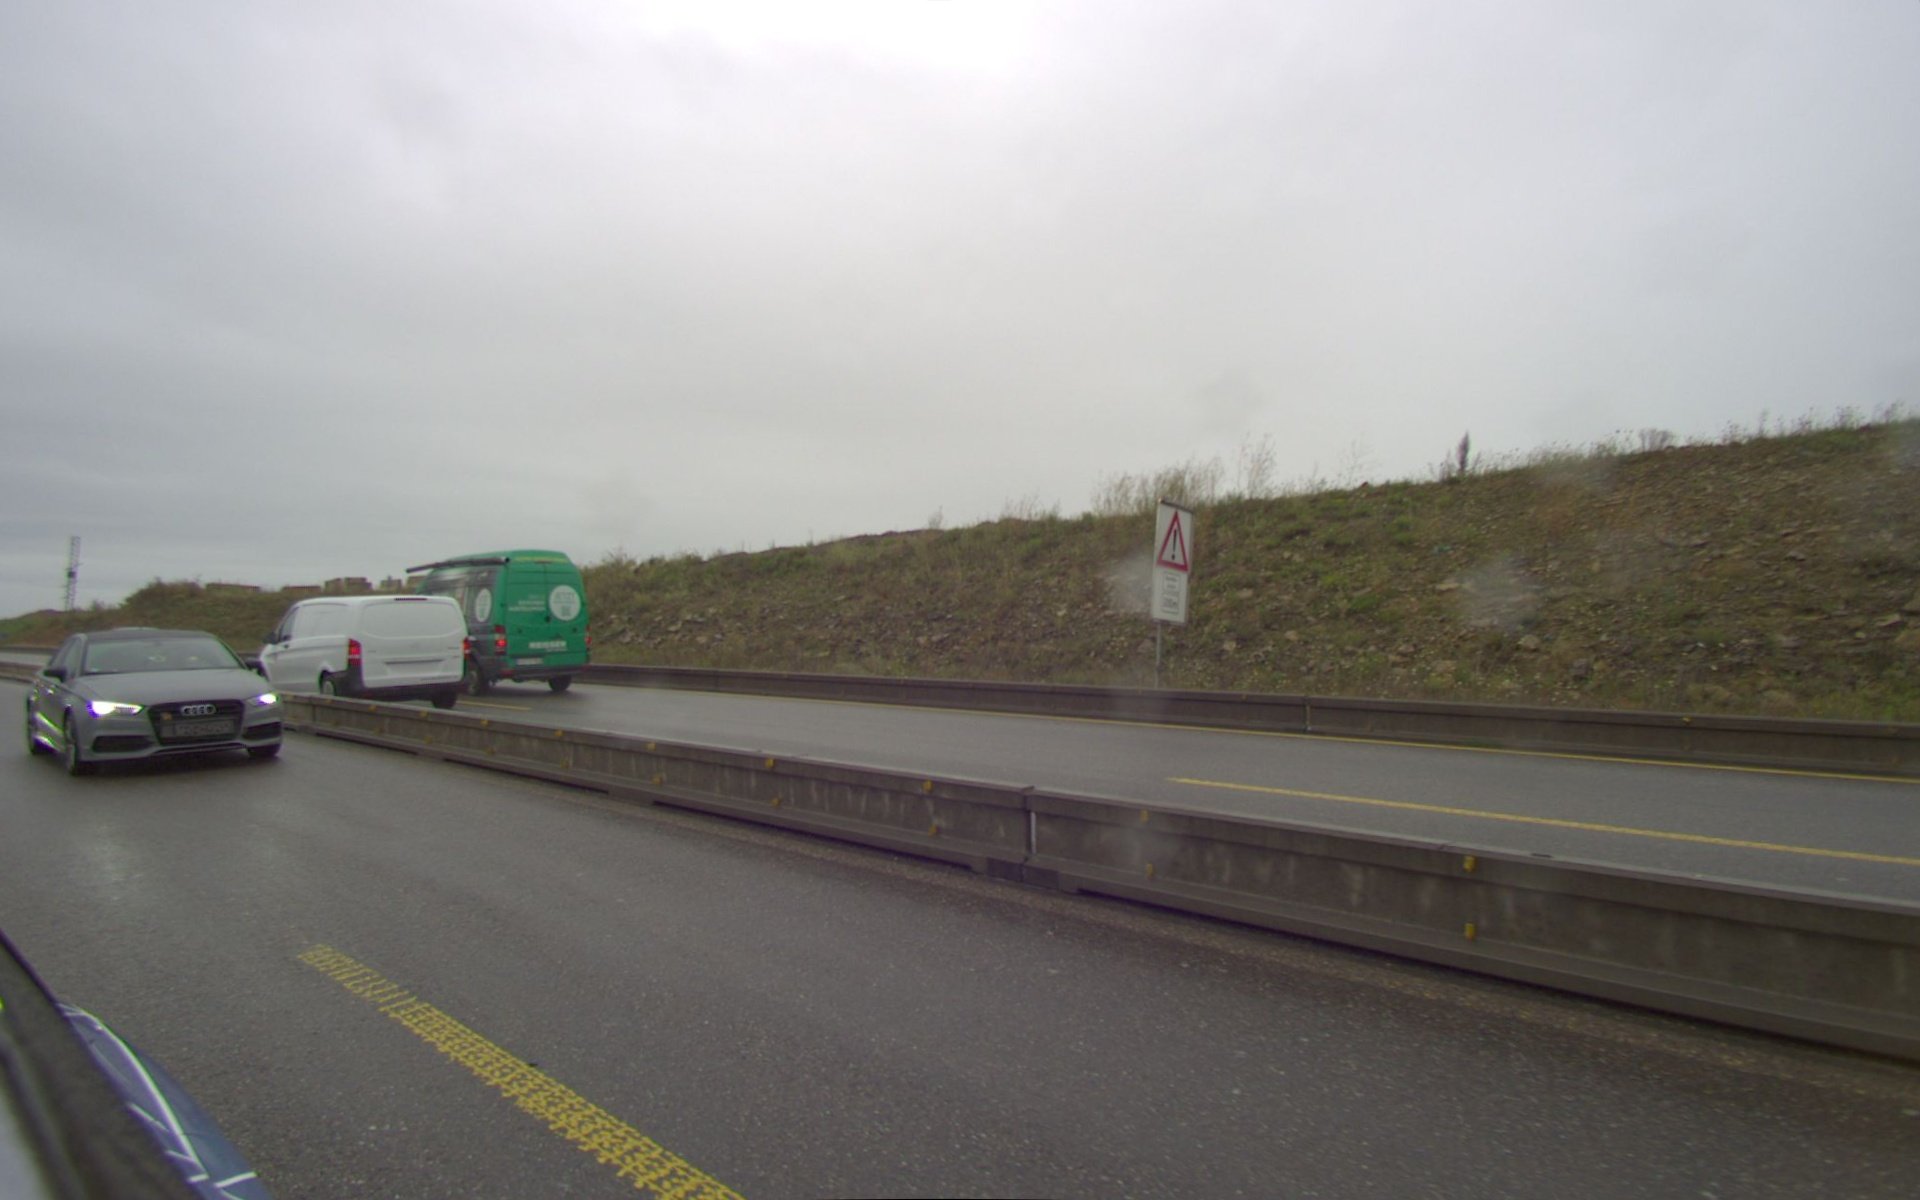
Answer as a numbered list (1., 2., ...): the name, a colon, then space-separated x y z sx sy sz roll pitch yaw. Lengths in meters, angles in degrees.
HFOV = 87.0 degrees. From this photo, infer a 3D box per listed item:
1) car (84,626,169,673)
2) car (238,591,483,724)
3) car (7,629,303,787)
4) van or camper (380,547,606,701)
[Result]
1. car: -30.223 1.746 36.656 4.044 1.548 1.696 -2 0 41
2. car: -10.227 0.876 17.074 5.271 1.901 1.980 -2 0 41
3. car: -9.002 1.043 11.207 4.084 1.393 1.782 -1 -1 40
4. van or camper: -9.992 0.481 21.378 5.940 2.839 2.078 -2 0 41
